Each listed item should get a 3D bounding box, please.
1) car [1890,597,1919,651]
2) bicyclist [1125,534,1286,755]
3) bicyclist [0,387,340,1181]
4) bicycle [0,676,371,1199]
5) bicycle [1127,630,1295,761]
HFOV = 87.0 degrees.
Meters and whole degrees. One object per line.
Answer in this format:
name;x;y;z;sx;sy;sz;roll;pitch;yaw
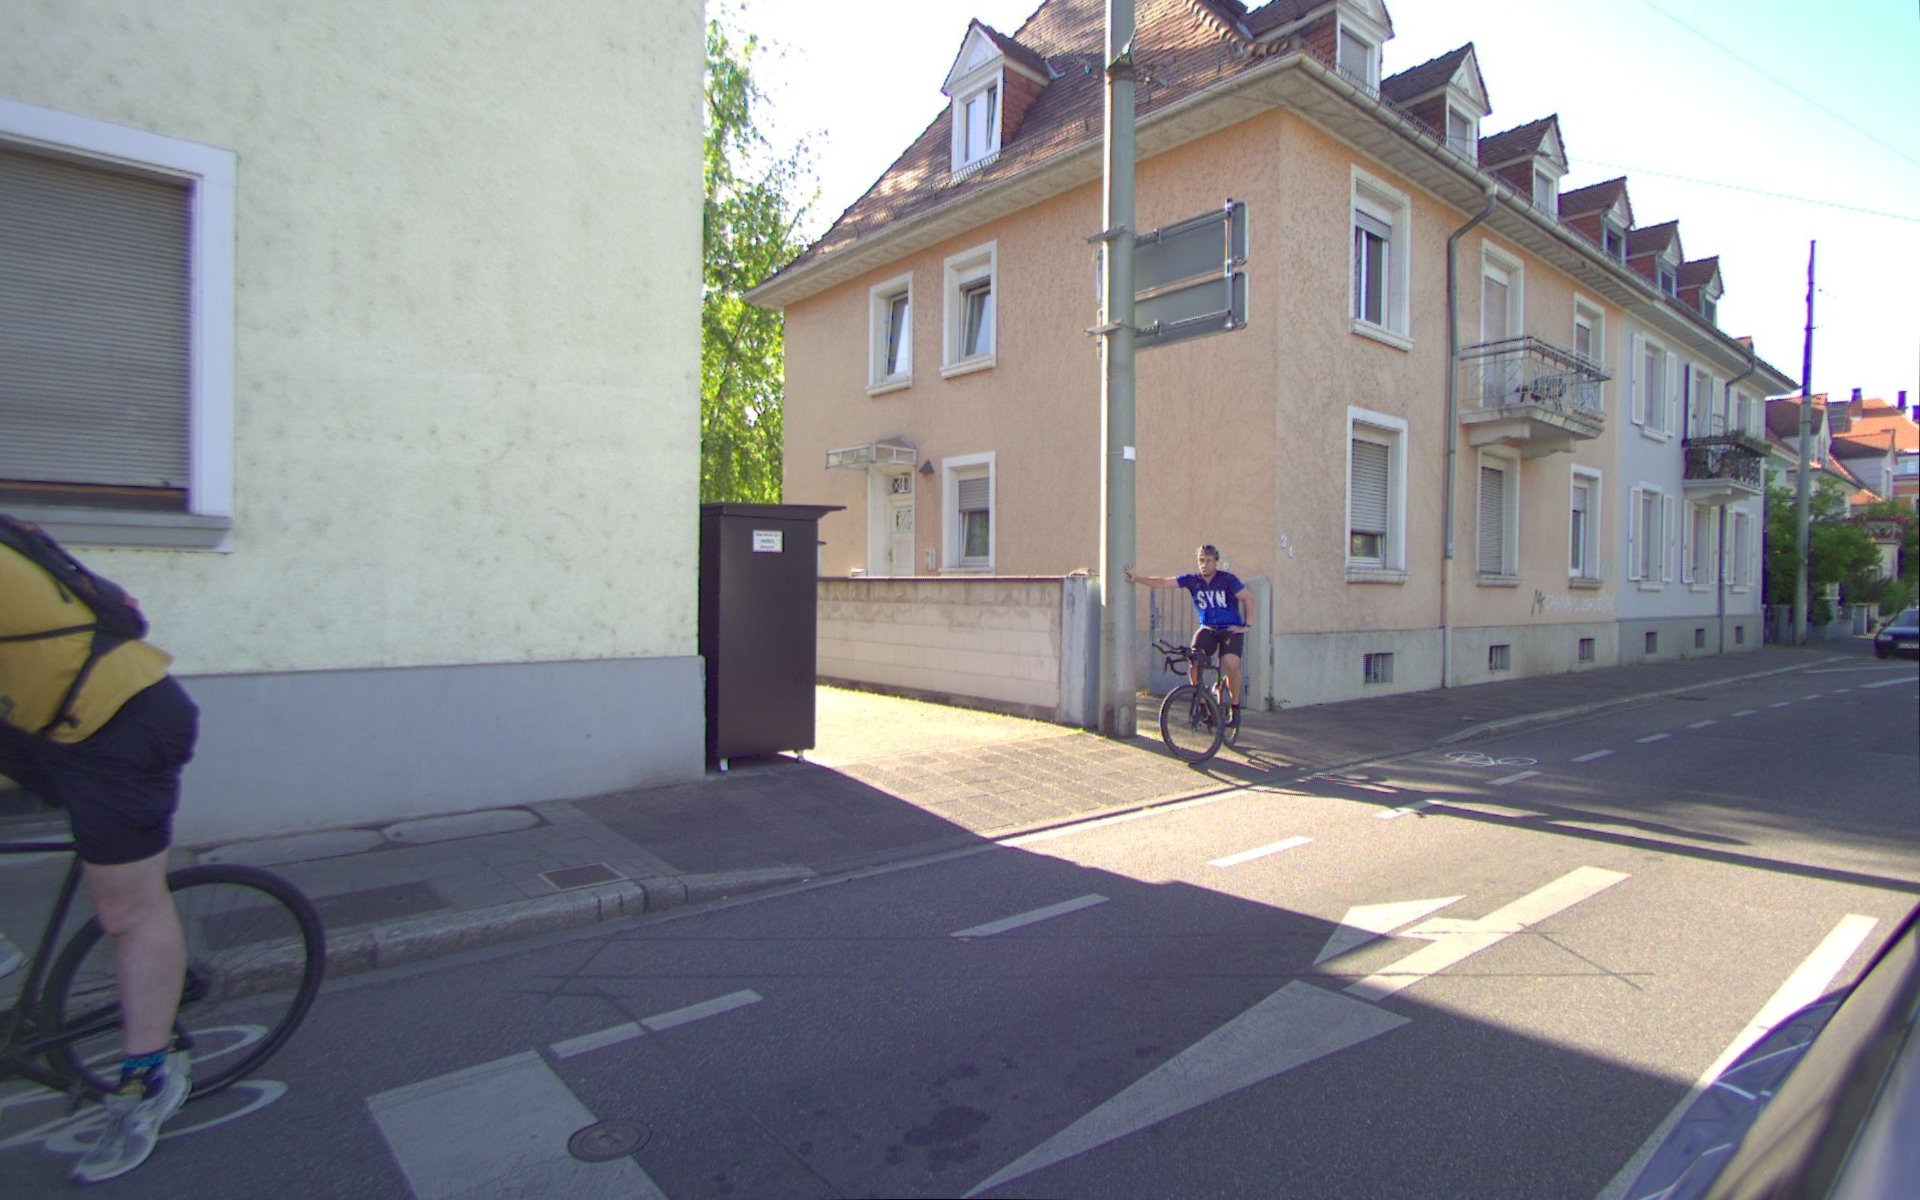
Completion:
car;26.688;0.629;27.347;3.796;1.382;1.648;0;1;-38
bicyclist;2.276;0.361;9.435;0.831;1.887;1.076;0;4;-40
bicyclist;-2.308;0.422;2.700;1.018;1.840;0.653;0;1;-41
bicycle;-2.484;0.844;2.535;1.669;1.180;0.572;0;1;-41
bicycle;2.309;0.818;9.210;1.669;1.003;0.572;0;4;-41
